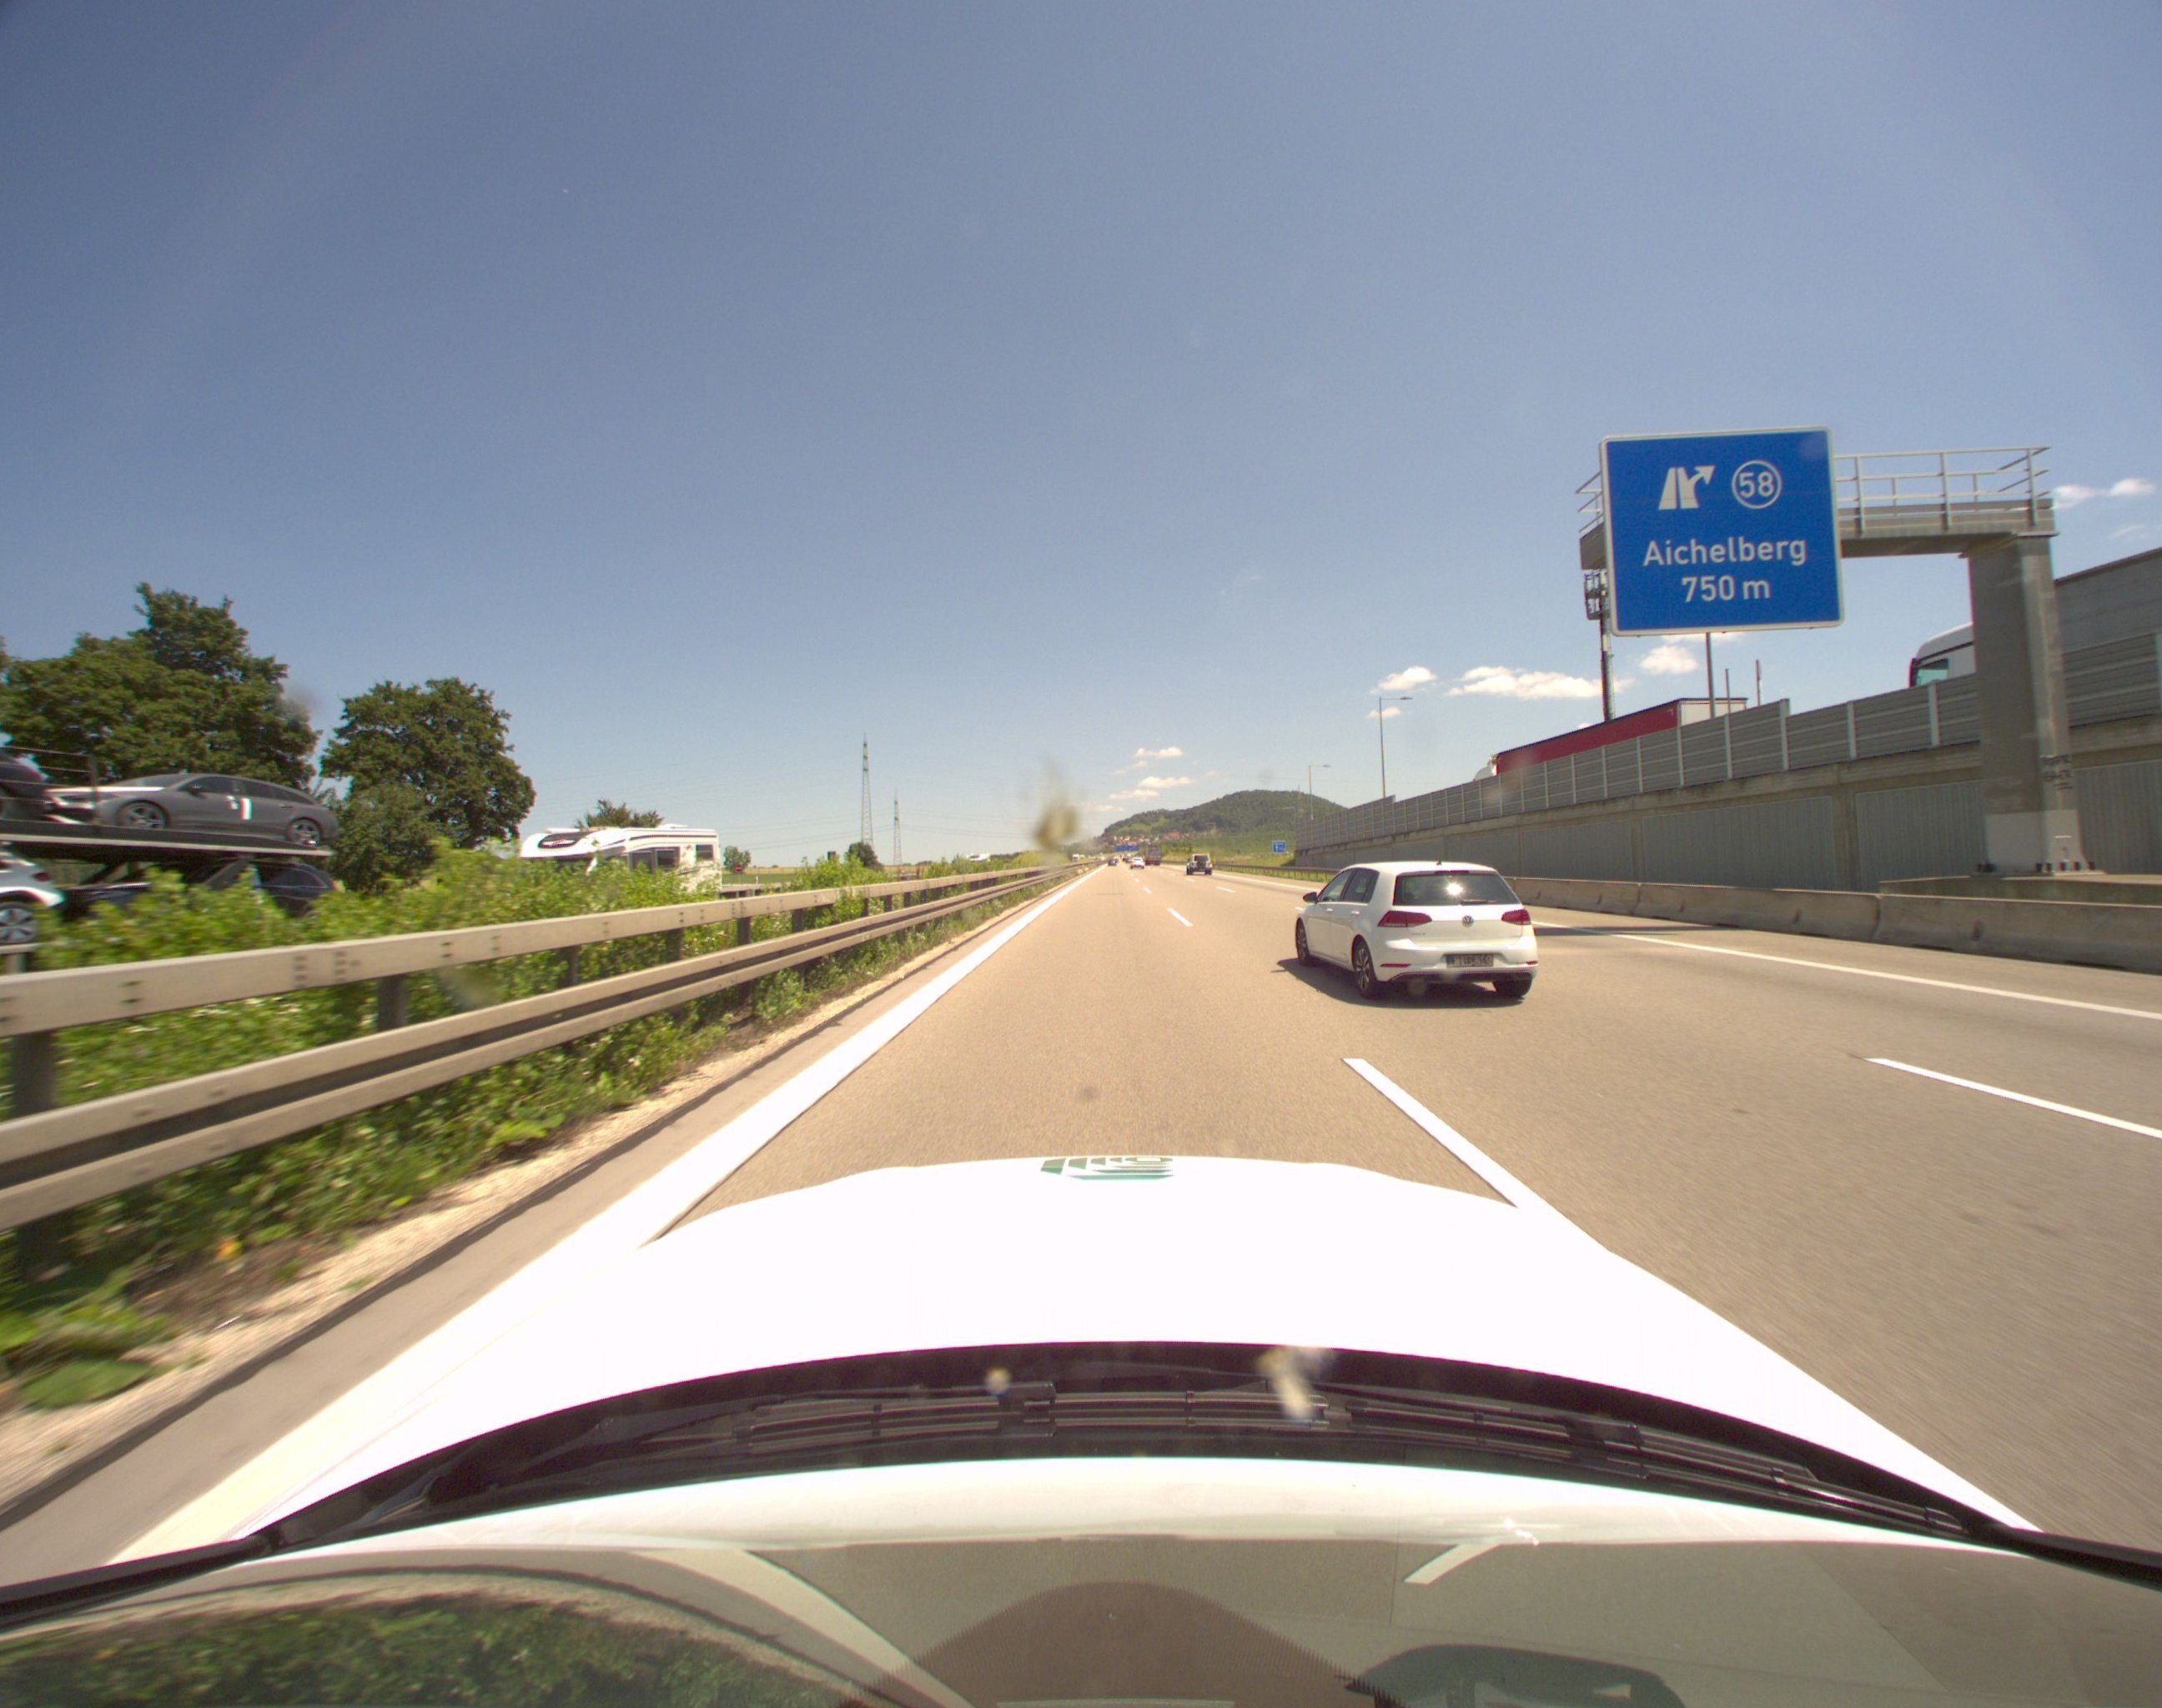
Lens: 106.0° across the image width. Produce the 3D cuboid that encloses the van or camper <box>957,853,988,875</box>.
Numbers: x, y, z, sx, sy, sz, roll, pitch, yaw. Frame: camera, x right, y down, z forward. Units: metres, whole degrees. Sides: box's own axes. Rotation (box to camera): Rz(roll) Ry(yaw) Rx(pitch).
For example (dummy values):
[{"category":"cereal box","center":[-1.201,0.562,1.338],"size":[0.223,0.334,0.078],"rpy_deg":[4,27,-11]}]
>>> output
[{"category":"van or camper","center":[-13.142,1.276,98.983],"size":[2.526,2.536,6.711],"rpy_deg":[-1,-2,2]}]

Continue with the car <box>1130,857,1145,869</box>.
[{"category":"car","center":[8.057,1.265,115.972],"size":[1.907,1.581,5.233],"rpy_deg":[0,-1,2]}]

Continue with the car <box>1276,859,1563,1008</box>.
[{"category":"car","center":[3.825,0.797,10.201],"size":[1.769,1.433,4.692],"rpy_deg":[0,-1,2]}]

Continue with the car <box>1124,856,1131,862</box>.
[{"category":"car","center":[14.473,1.569,253.412],"size":[1.985,2.014,4.003],"rpy_deg":[0,-1,3]}]

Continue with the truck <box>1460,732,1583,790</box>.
[{"category":"truck","center":[23.438,-4.865,43.852],"size":[2.698,2.204,7.287],"rpy_deg":[0,-1,0]}]

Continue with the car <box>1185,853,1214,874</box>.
[{"category":"car","center":[10.479,0.815,72.434],"size":[2.027,1.804,4.252],"rpy_deg":[-1,0,2]}]

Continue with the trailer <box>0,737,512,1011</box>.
[{"category":"trailer","center":[-16.446,0.312,13.691],"size":[2.675,3.847,15.184],"rpy_deg":[0,-1,2]}]

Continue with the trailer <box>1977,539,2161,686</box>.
[{"category":"trailer","center":[23.071,-5.283,12.523],"size":[2.710,2.224,14.526],"rpy_deg":[0,-1,0]}]

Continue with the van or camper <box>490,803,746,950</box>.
[{"category":"van or camper","center":[-12.226,0.543,22.511],"size":[2.514,3.267,7.377],"rpy_deg":[-3,-1,2]}]

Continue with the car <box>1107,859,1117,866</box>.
[{"category":"car","center":[6.199,1.737,161.672],"size":[1.985,1.389,4.003],"rpy_deg":[0,-1,3]}]

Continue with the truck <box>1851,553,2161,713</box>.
[{"category":"truck","center":[23.143,-5.146,20.045],"size":[2.714,2.230,6.036],"rpy_deg":[0,-1,1]}]

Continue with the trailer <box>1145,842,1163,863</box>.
[{"category":"trailer","center":[15.166,-0.213,169.702],"size":[2.716,4.155,11.806],"rpy_deg":[0,-1,0]}]

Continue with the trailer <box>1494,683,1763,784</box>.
[{"category":"trailer","center":[23.386,-4.976,36.504],"size":[2.710,2.224,14.019],"rpy_deg":[0,-1,0]}]
